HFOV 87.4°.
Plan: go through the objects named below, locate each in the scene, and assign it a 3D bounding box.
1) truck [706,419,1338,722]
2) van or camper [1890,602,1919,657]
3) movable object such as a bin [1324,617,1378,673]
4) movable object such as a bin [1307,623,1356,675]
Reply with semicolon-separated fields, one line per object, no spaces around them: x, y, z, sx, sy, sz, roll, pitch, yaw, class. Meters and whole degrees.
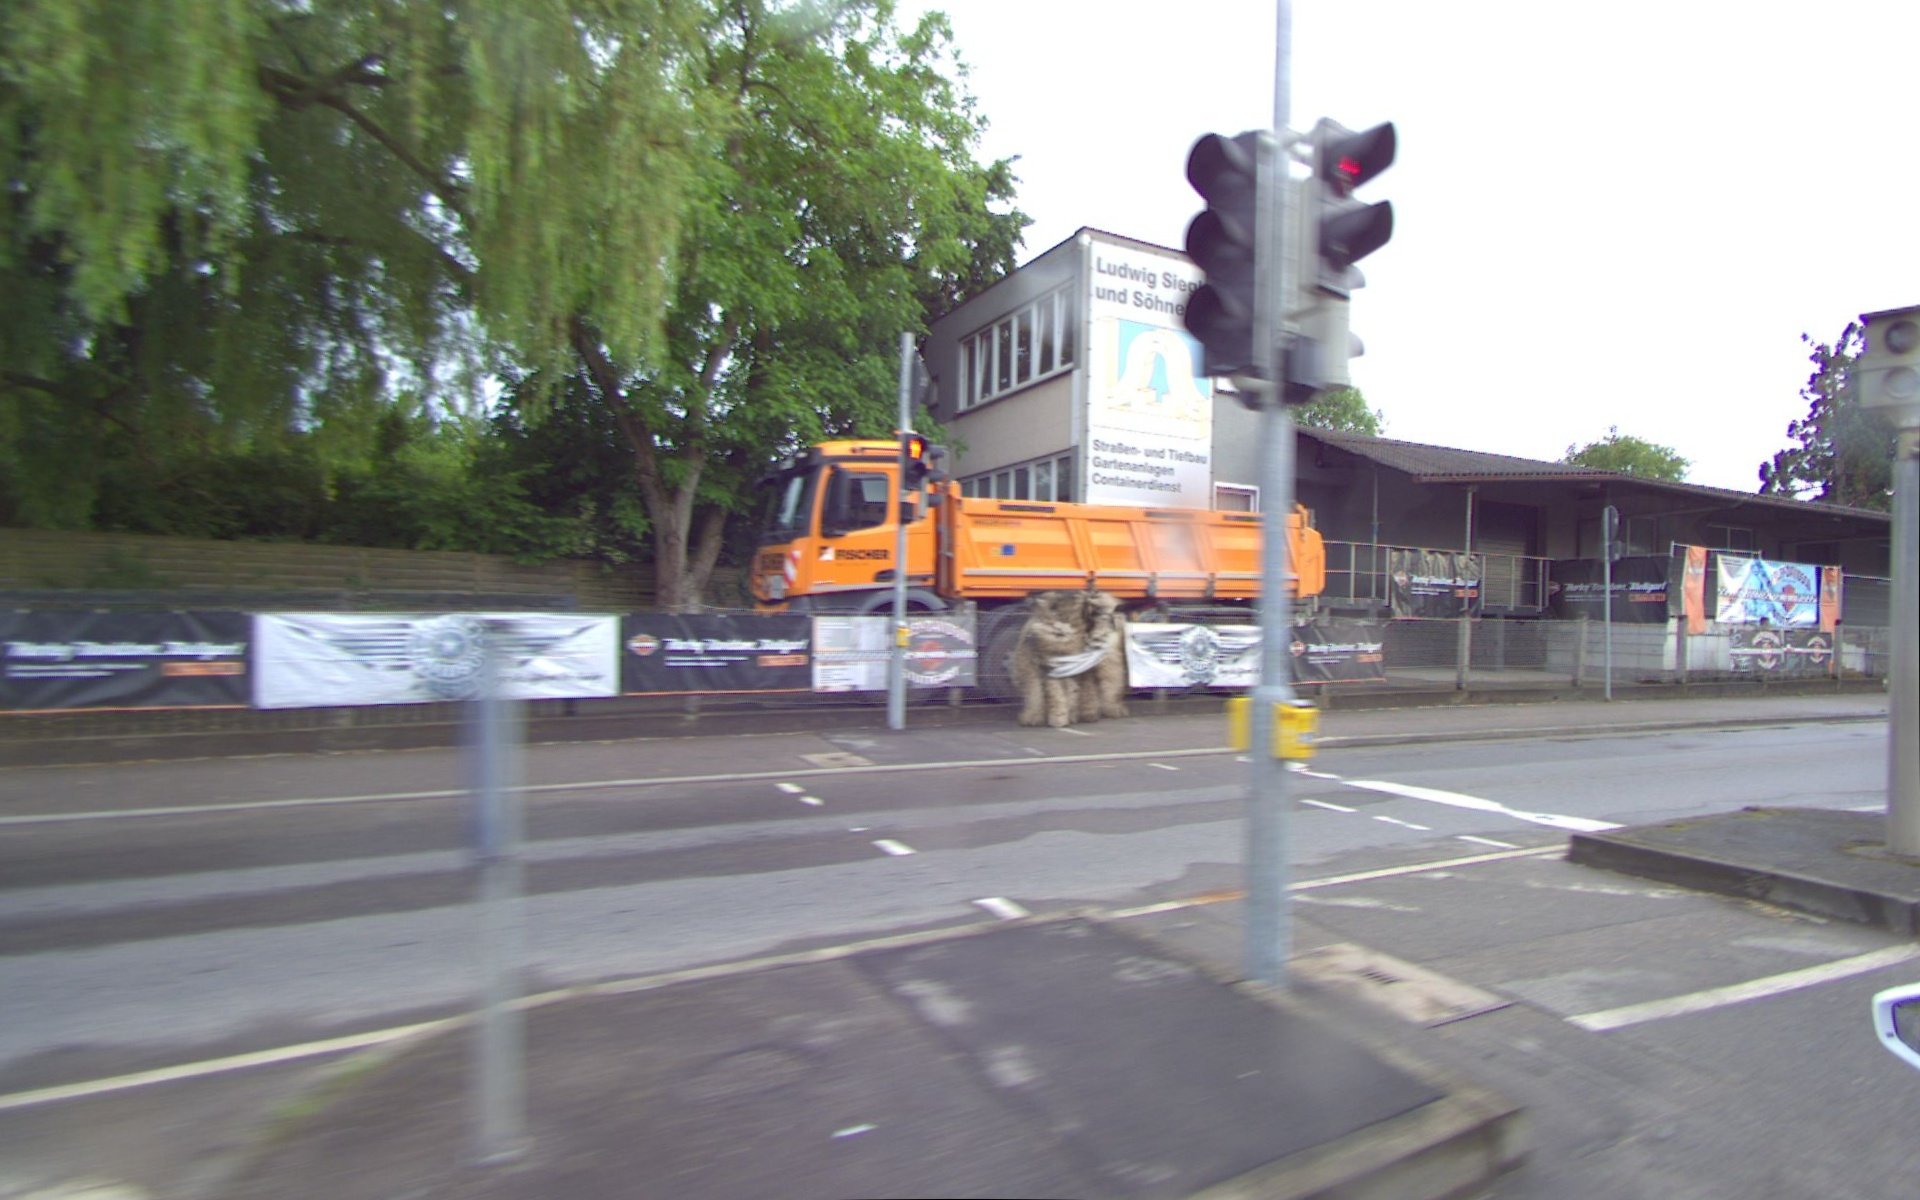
1.122;-0.157;14.796;8.950;3.457;2.689;4;1;-25;truck
35.951;1.133;36.415;4.419;1.934;1.984;2;1;-30;van or camper
7.724;0.874;19.836;0.616;1.070;0.760;1;0;-28;movable object such as a bin
7.231;0.943;19.556;0.472;0.969;0.760;1;0;-28;movable object such as a bin
